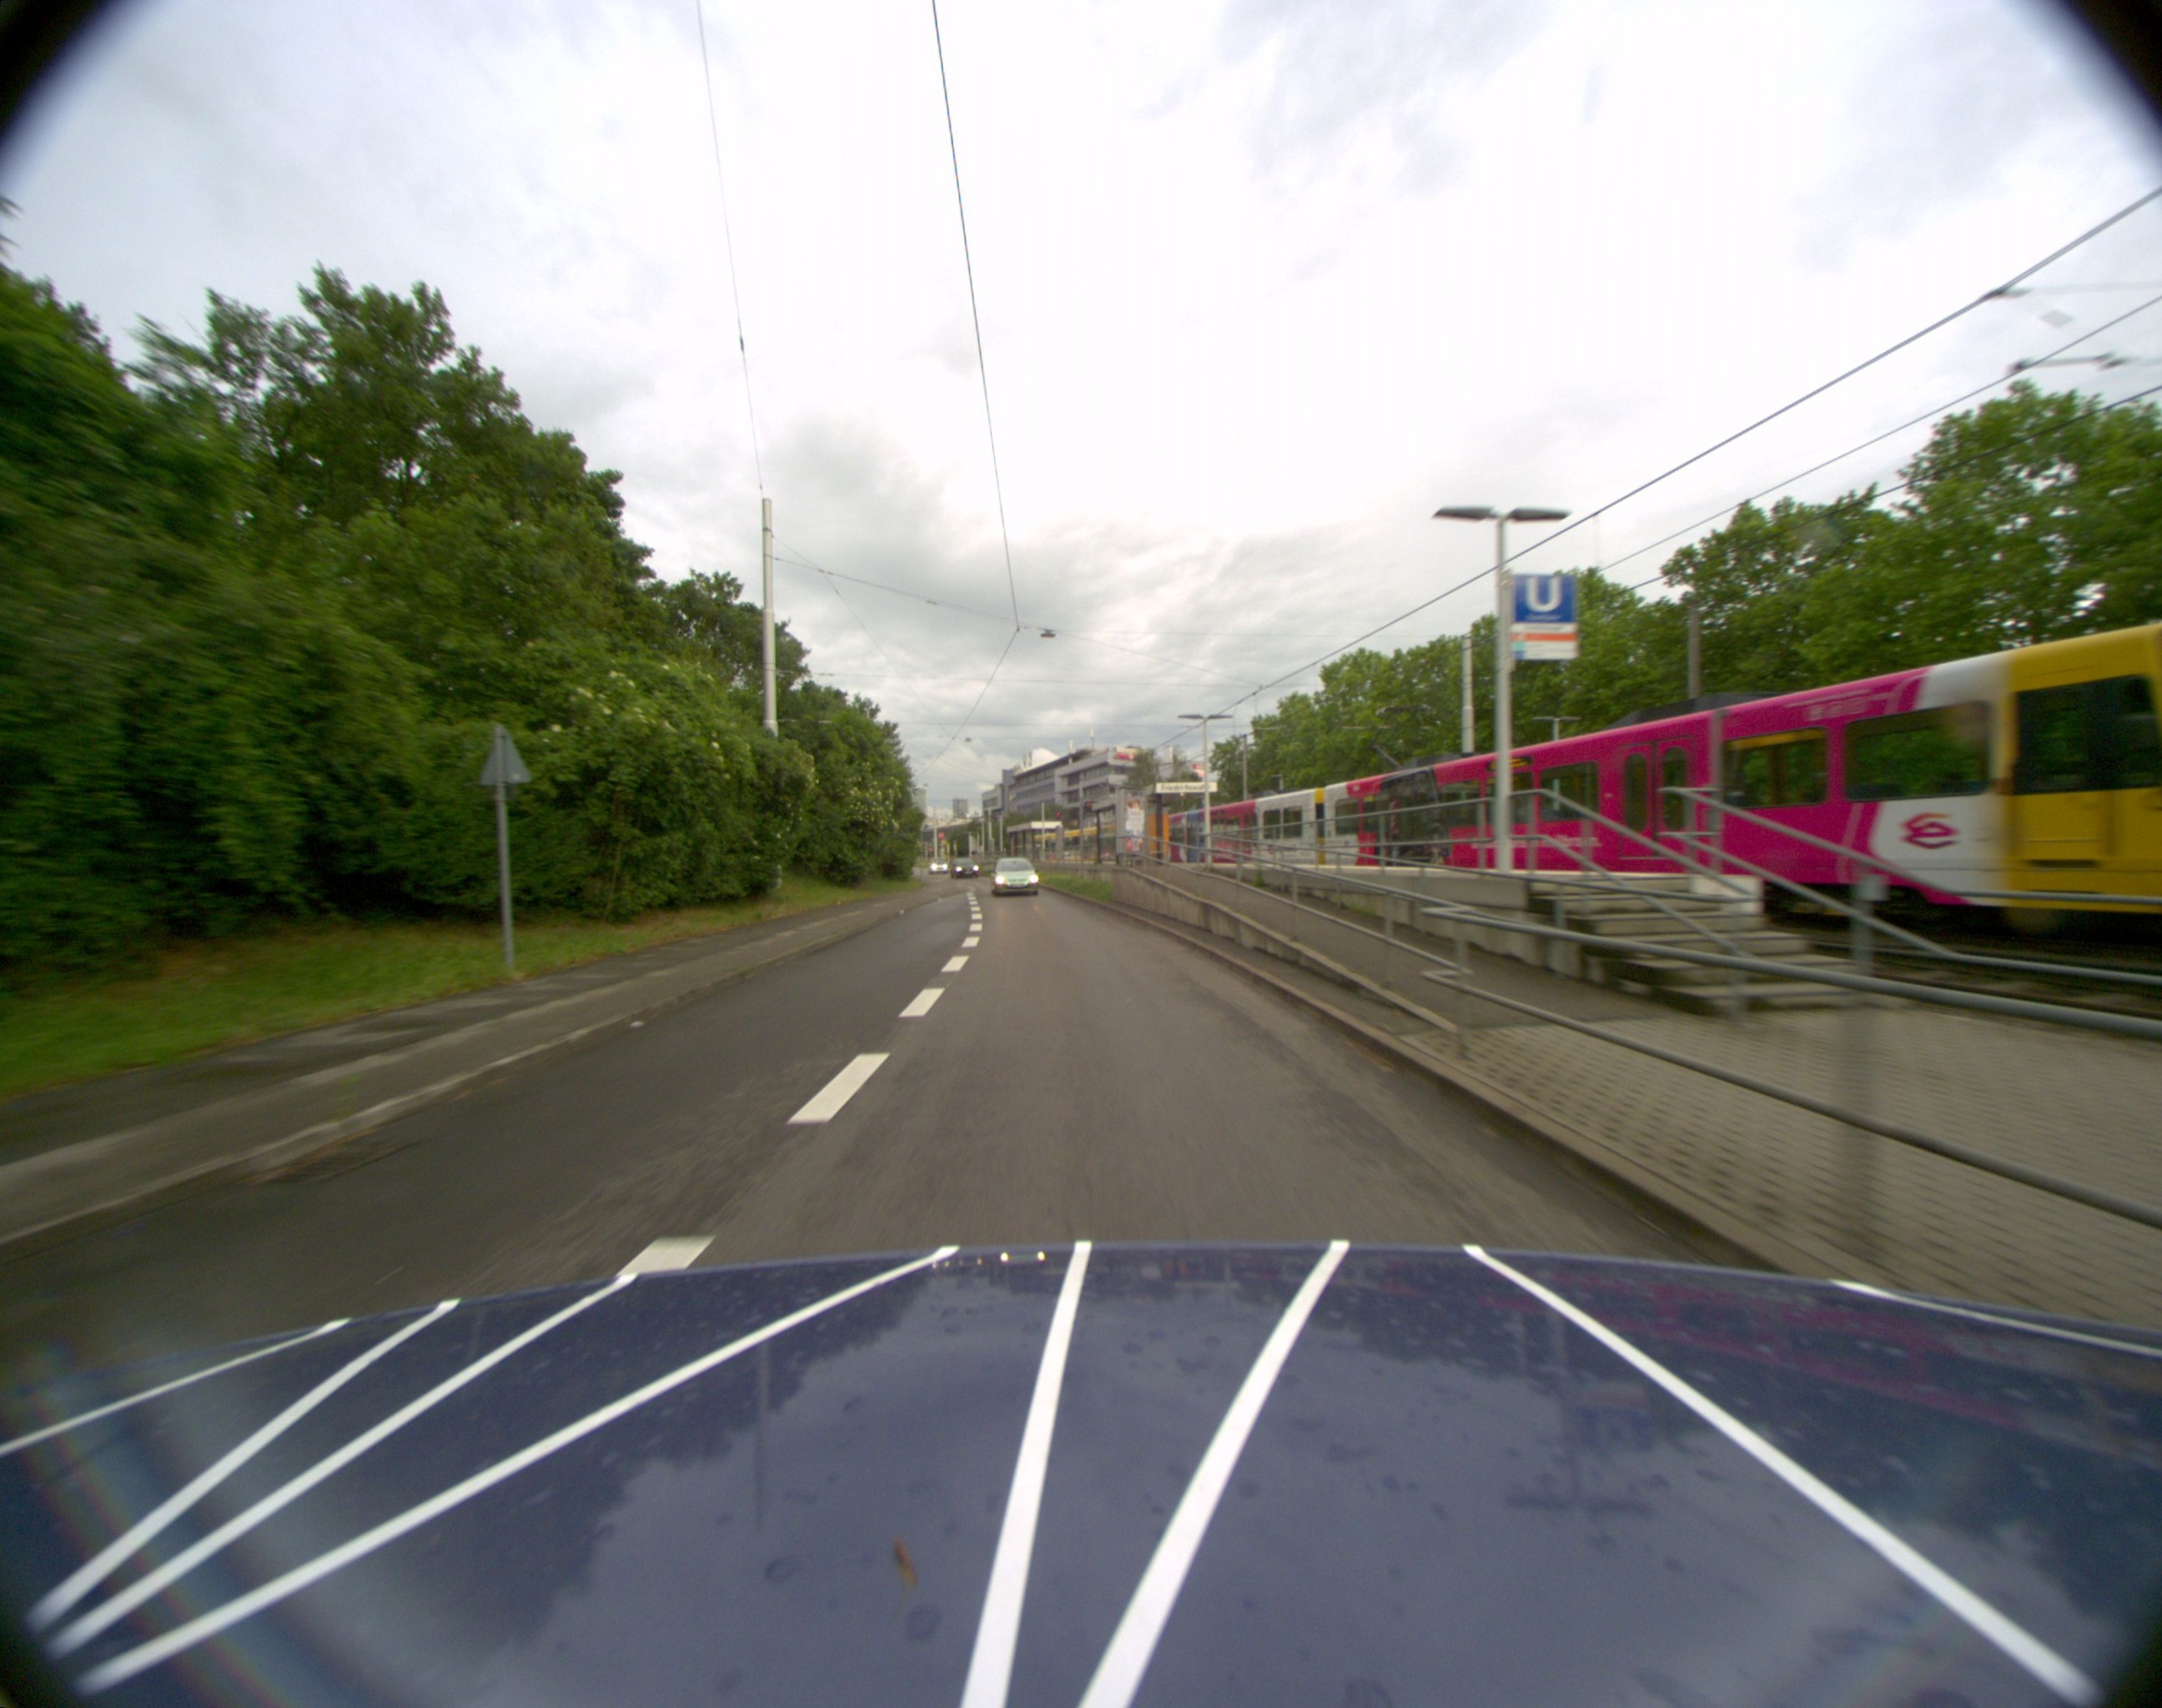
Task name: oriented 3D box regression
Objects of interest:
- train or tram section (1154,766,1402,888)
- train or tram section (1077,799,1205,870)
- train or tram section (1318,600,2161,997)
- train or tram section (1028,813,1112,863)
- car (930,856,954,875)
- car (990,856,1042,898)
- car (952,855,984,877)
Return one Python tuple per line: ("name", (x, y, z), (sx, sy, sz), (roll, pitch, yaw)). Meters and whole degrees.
("train or tram section", (7.612, -1.052, 35.074), (2.877, 3.948, 19.308), (-4, 2, -11))
("train or tram section", (3.514, -1.261, 53.842), (2.878, 3.932, 19.304), (-4, 2, -14))
("train or tram section", (10.906, -0.769, 16.176), (2.877, 3.938, 19.311), (-4, 2, -8))
("train or tram section", (-1.533, -1.419, 72.566), (2.878, 3.951, 19.301), (-4, 2, -16))
("car", (-13.469, 1.061, 73.424), (2.001, 1.563, 3.994), (-4, 2, -14))
("car", (-2.721, 0.877, 31.033), (1.782, 1.493, 3.996), (-1, 1, -9))
("car", (-8.586, 0.889, 57.405), (1.783, 1.493, 3.994), (-3, 1, -16))
